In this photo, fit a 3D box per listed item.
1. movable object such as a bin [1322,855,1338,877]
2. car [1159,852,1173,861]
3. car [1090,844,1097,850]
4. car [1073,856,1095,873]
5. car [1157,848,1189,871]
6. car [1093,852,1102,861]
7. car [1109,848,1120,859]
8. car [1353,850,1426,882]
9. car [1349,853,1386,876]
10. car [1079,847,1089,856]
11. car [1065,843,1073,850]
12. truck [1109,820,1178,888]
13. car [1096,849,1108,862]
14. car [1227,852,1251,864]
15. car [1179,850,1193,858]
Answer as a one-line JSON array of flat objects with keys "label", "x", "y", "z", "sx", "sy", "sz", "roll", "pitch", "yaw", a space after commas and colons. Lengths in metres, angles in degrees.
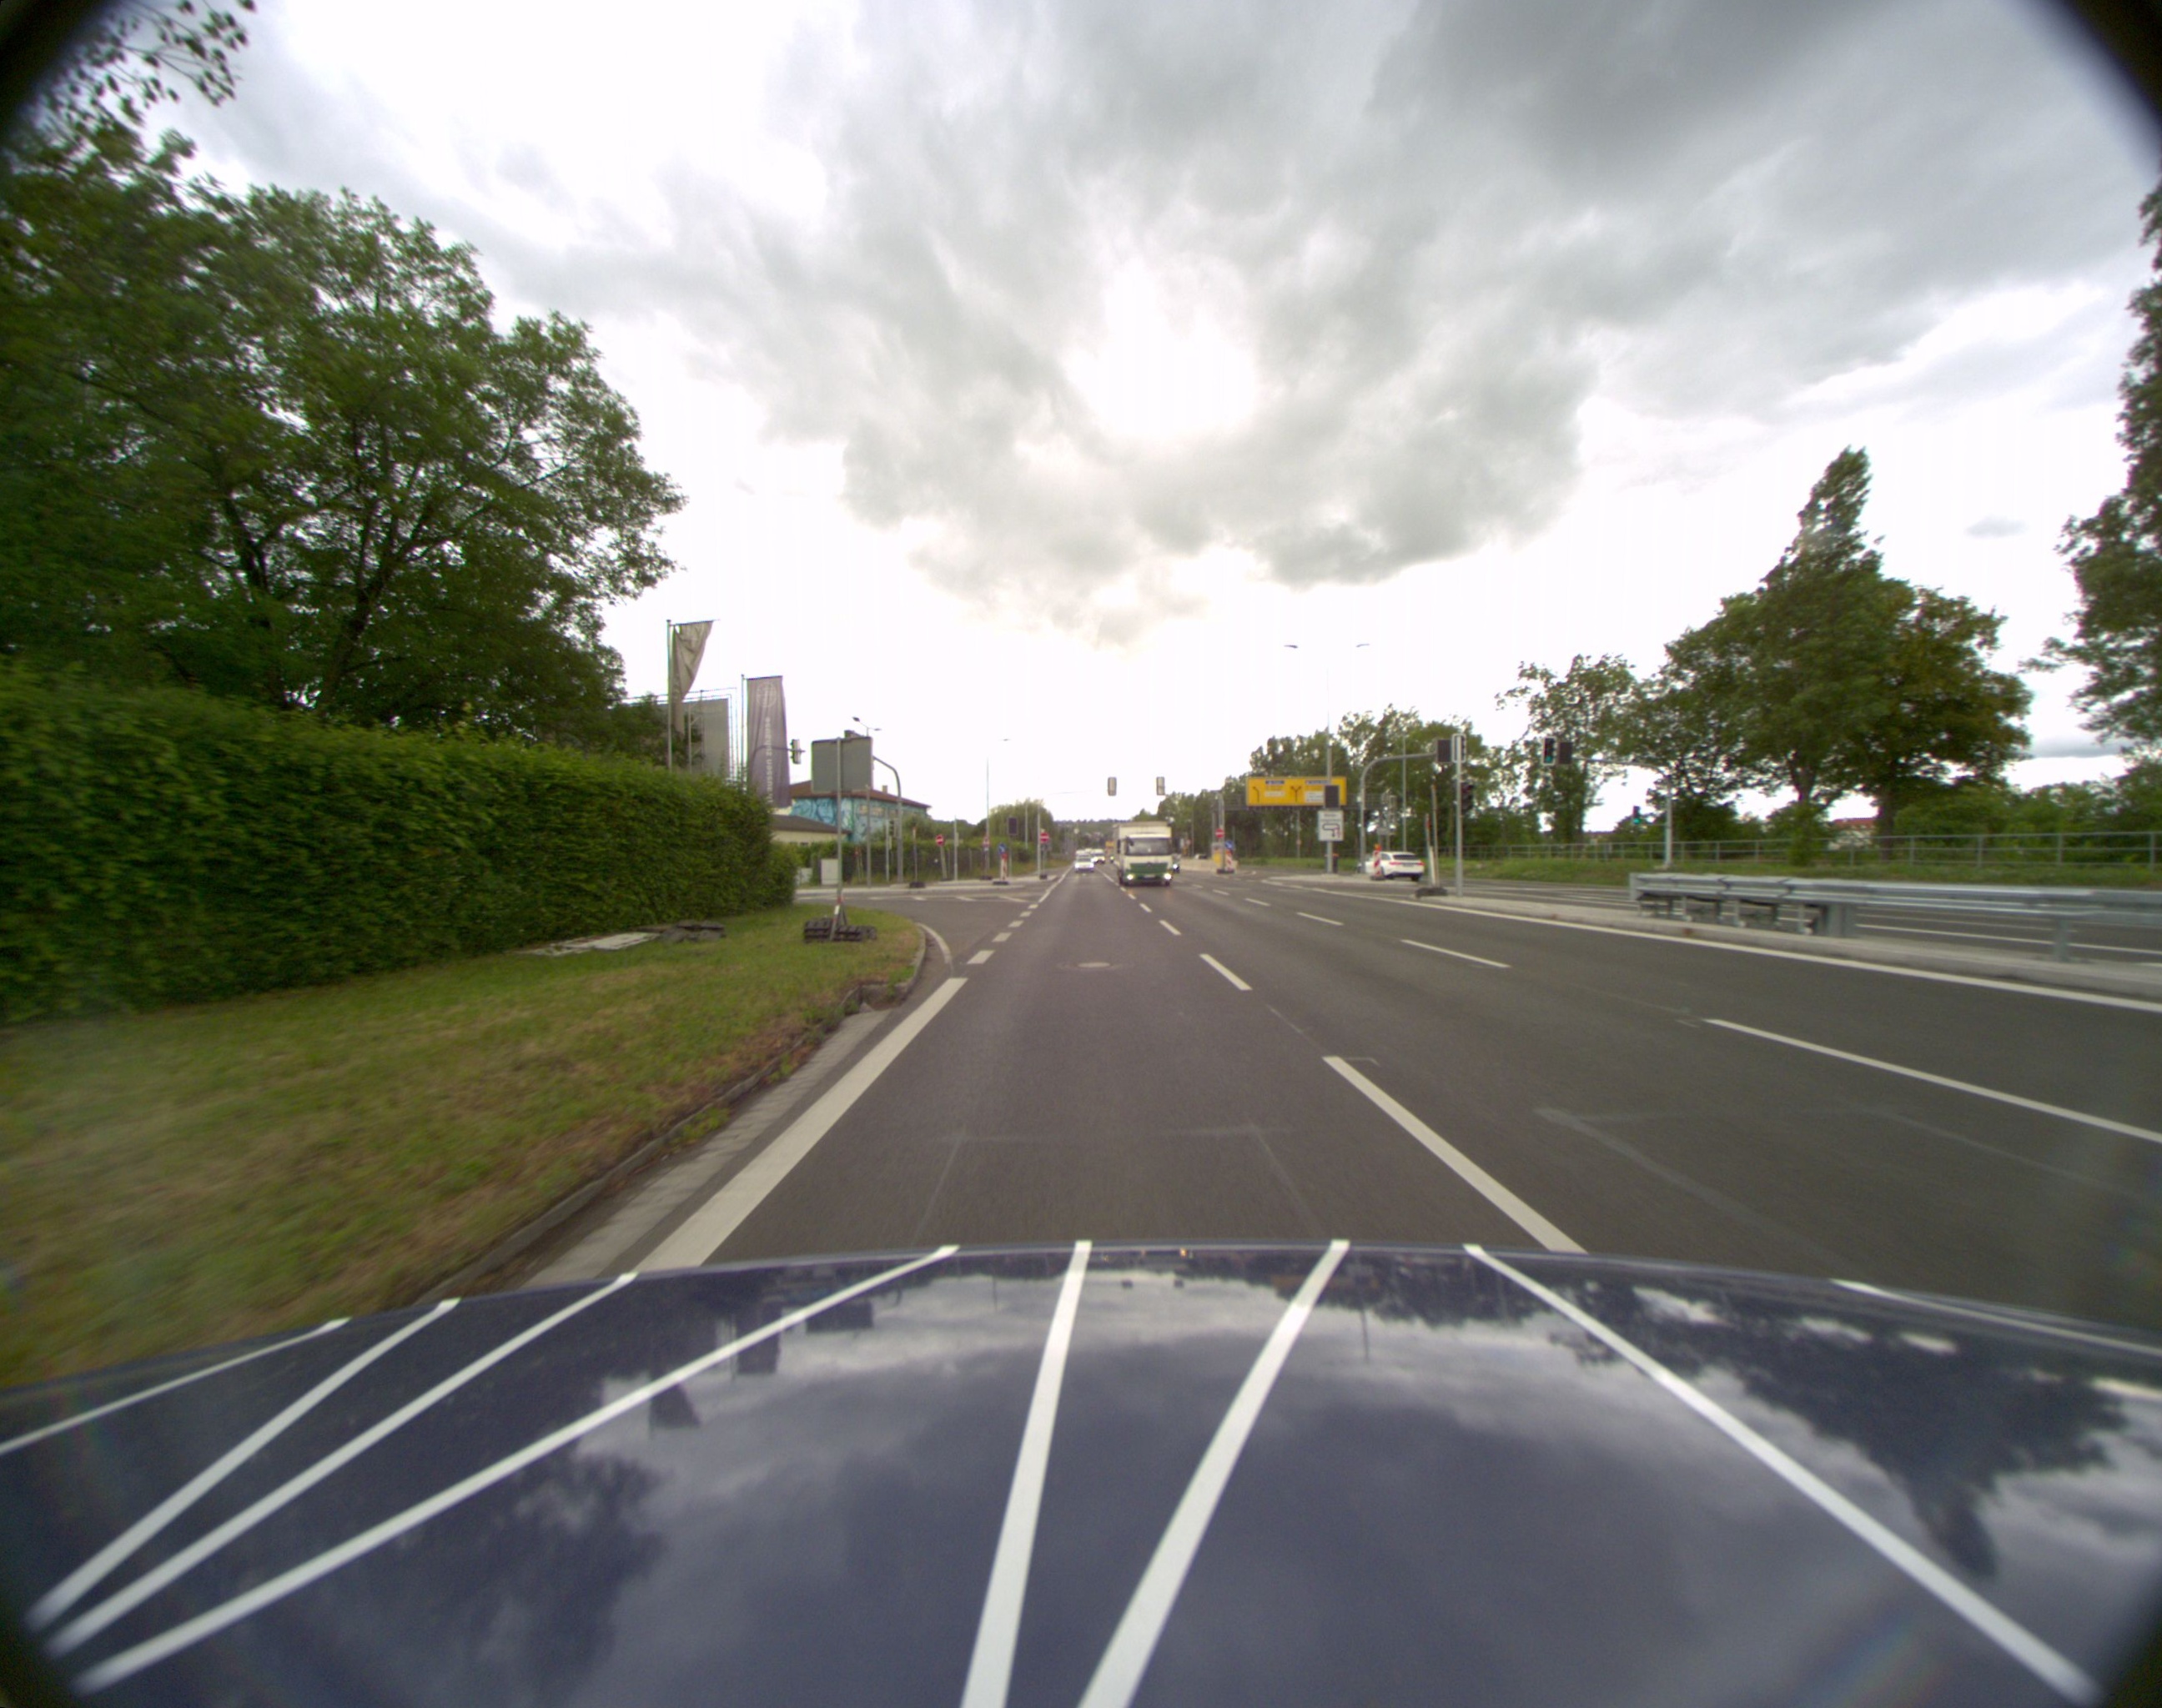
[{"label": "movable object such as a bin", "x": 11.828, "y": 0.580, "z": 36.045, "sx": 0.570, "sy": 1.018, "sz": 0.622, "roll": -1, "pitch": 1, "yaw": 4}, {"label": "car", "x": 15.205, "y": 0.358, "z": 136.098, "sx": 2.012, "sy": 1.559, "sz": 5.001, "roll": -1, "pitch": 0, "yaw": 0}, {"label": "car", "x": 3.565, "y": -2.014, "z": 217.730, "sx": 1.949, "sy": 1.811, "sz": 4.000, "roll": -1, "pitch": 0, "yaw": 0}, {"label": "car", "x": 0.277, "y": 0.936, "z": 72.347, "sx": 1.949, "sy": 1.517, "sz": 4.000, "roll": -1, "pitch": 0, "yaw": 0}, {"label": "car", "x": 7.083, "y": 0.426, "z": 58.907, "sx": 1.883, "sy": 1.715, "sz": 4.146, "roll": -1, "pitch": 0, "yaw": 0}, {"label": "car", "x": 3.580, "y": 0.479, "z": 166.019, "sx": 1.949, "sy": 1.811, "sz": 4.000, "roll": -1, "pitch": 0, "yaw": 0}, {"label": "car", "x": 6.431, "y": -0.116, "z": 145.669, "sx": 1.949, "sy": 2.176, "sz": 4.000, "roll": -1, "pitch": 0, "yaw": 0}, {"label": "car", "x": 15.954, "y": 0.571, "z": 39.577, "sx": 1.702, "sy": 1.517, "sz": 5.001, "roll": 1, "pitch": 0, "yaw": 0}, {"label": "car", "x": 19.520, "y": 0.705, "z": 51.900, "sx": 1.508, "sy": 1.467, "sz": 2.633, "roll": 1, "pitch": 0, "yaw": 1}, {"label": "car", "x": 0.519, "y": -0.498, "z": 147.610, "sx": 1.949, "sy": 1.811, "sz": 4.000, "roll": -1, "pitch": 0, "yaw": 0}, {"label": "car", "x": -3.022, "y": -1.873, "z": 196.490, "sx": 1.949, "sy": 1.811, "sz": 4.000, "roll": -1, "pitch": 0, "yaw": 0}, {"label": "truck", "x": 3.147, "y": -0.029, "z": 41.567, "sx": 2.657, "sy": 3.121, "sz": 12.507, "roll": -1, "pitch": 0, "yaw": 0}, {"label": "car", "x": 3.745, "y": 0.209, "z": 135.162, "sx": 1.949, "sy": 2.176, "sz": 4.000, "roll": -1, "pitch": 0, "yaw": 0}, {"label": "car", "x": 20.106, "y": 0.510, "z": 97.070, "sx": 2.012, "sy": 1.517, "sz": 5.001, "roll": -1, "pitch": 0, "yaw": 0}, {"label": "car", "x": 21.906, "y": -0.034, "z": 158.762, "sx": 2.012, "sy": 1.517, "sz": 5.001, "roll": -1, "pitch": 0, "yaw": 0}]
